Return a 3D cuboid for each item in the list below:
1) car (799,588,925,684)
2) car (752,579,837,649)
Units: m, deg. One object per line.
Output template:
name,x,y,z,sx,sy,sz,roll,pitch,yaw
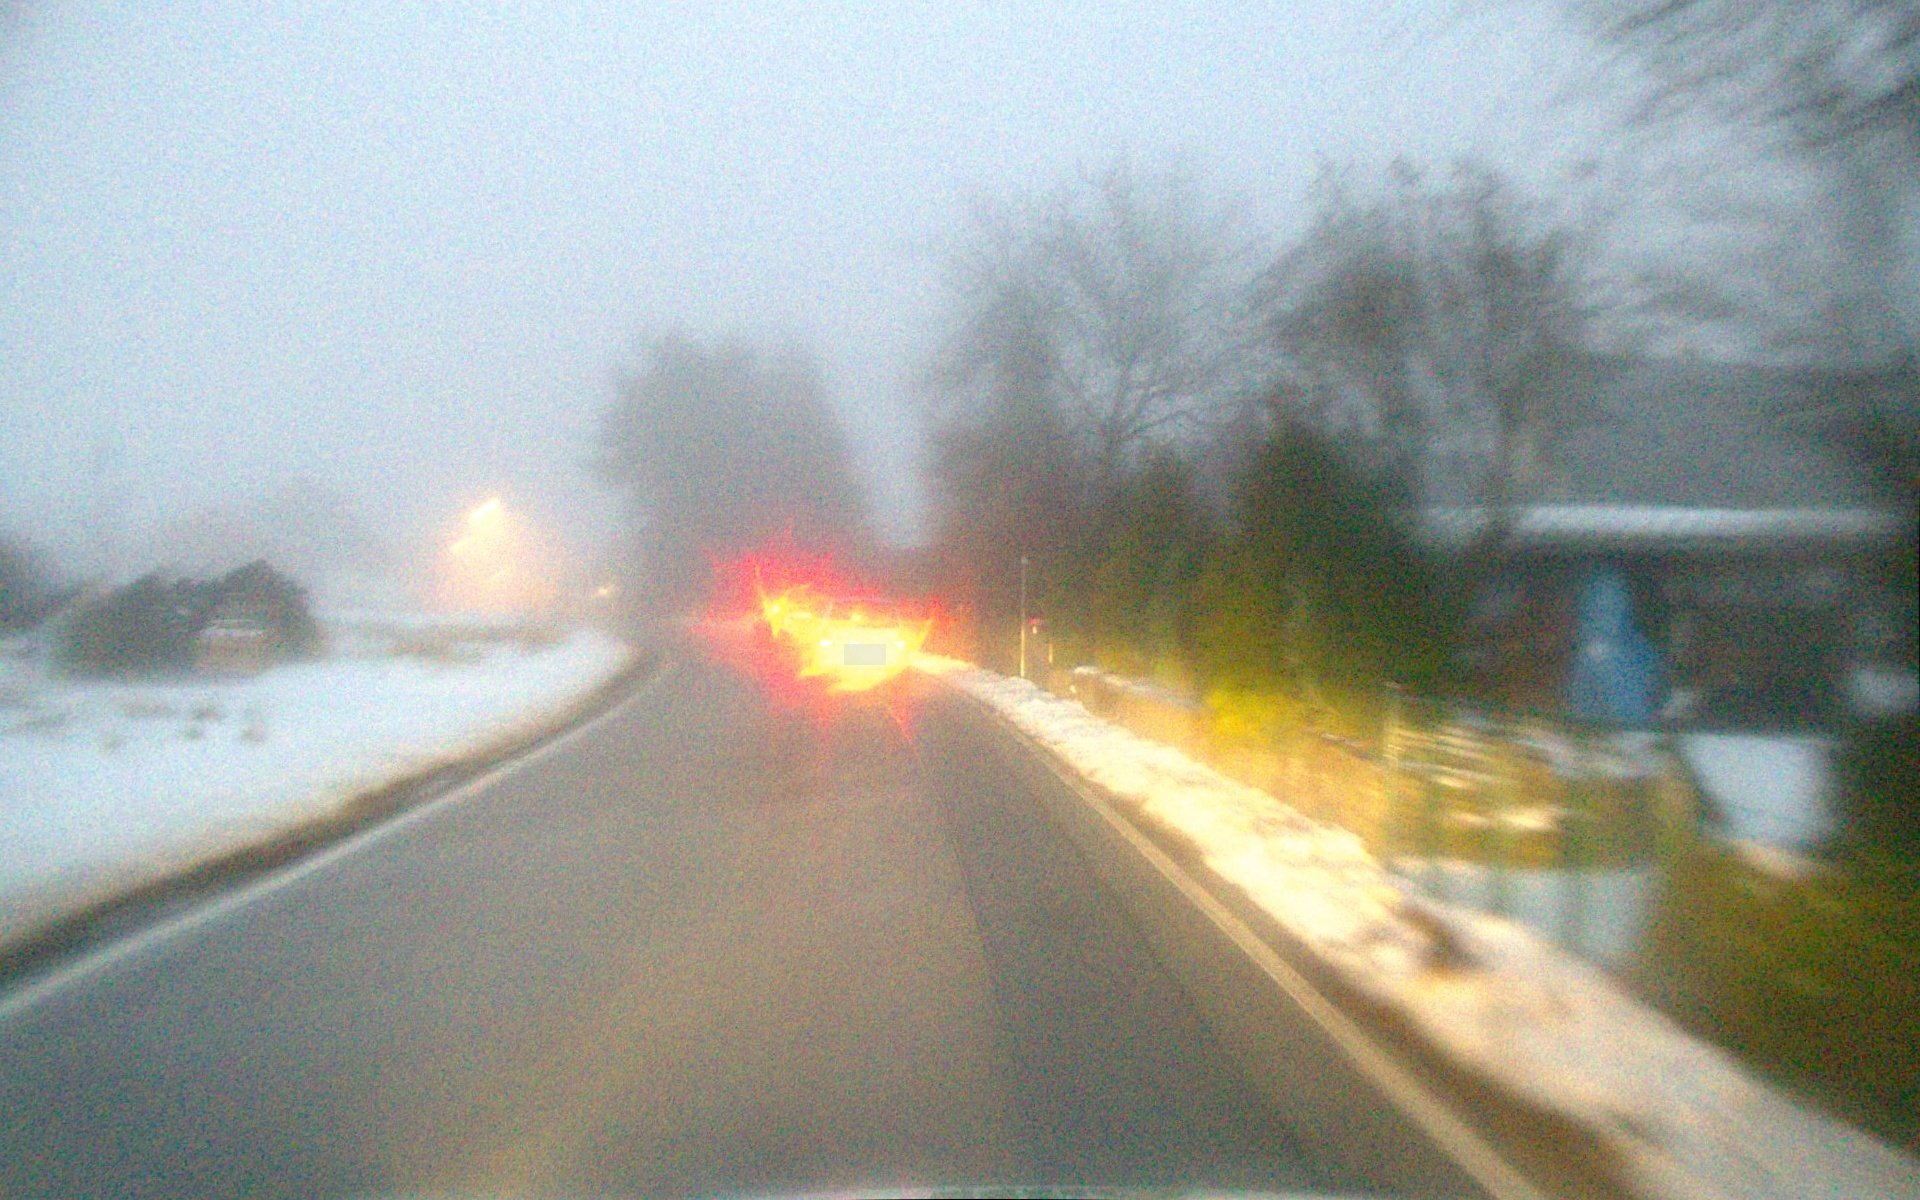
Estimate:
car,-1.628,0.608,28.758,1.953,1.534,3.999,1,-1,0
car,-4.420,0.389,44.686,1.953,1.780,3.999,1,-1,-1
